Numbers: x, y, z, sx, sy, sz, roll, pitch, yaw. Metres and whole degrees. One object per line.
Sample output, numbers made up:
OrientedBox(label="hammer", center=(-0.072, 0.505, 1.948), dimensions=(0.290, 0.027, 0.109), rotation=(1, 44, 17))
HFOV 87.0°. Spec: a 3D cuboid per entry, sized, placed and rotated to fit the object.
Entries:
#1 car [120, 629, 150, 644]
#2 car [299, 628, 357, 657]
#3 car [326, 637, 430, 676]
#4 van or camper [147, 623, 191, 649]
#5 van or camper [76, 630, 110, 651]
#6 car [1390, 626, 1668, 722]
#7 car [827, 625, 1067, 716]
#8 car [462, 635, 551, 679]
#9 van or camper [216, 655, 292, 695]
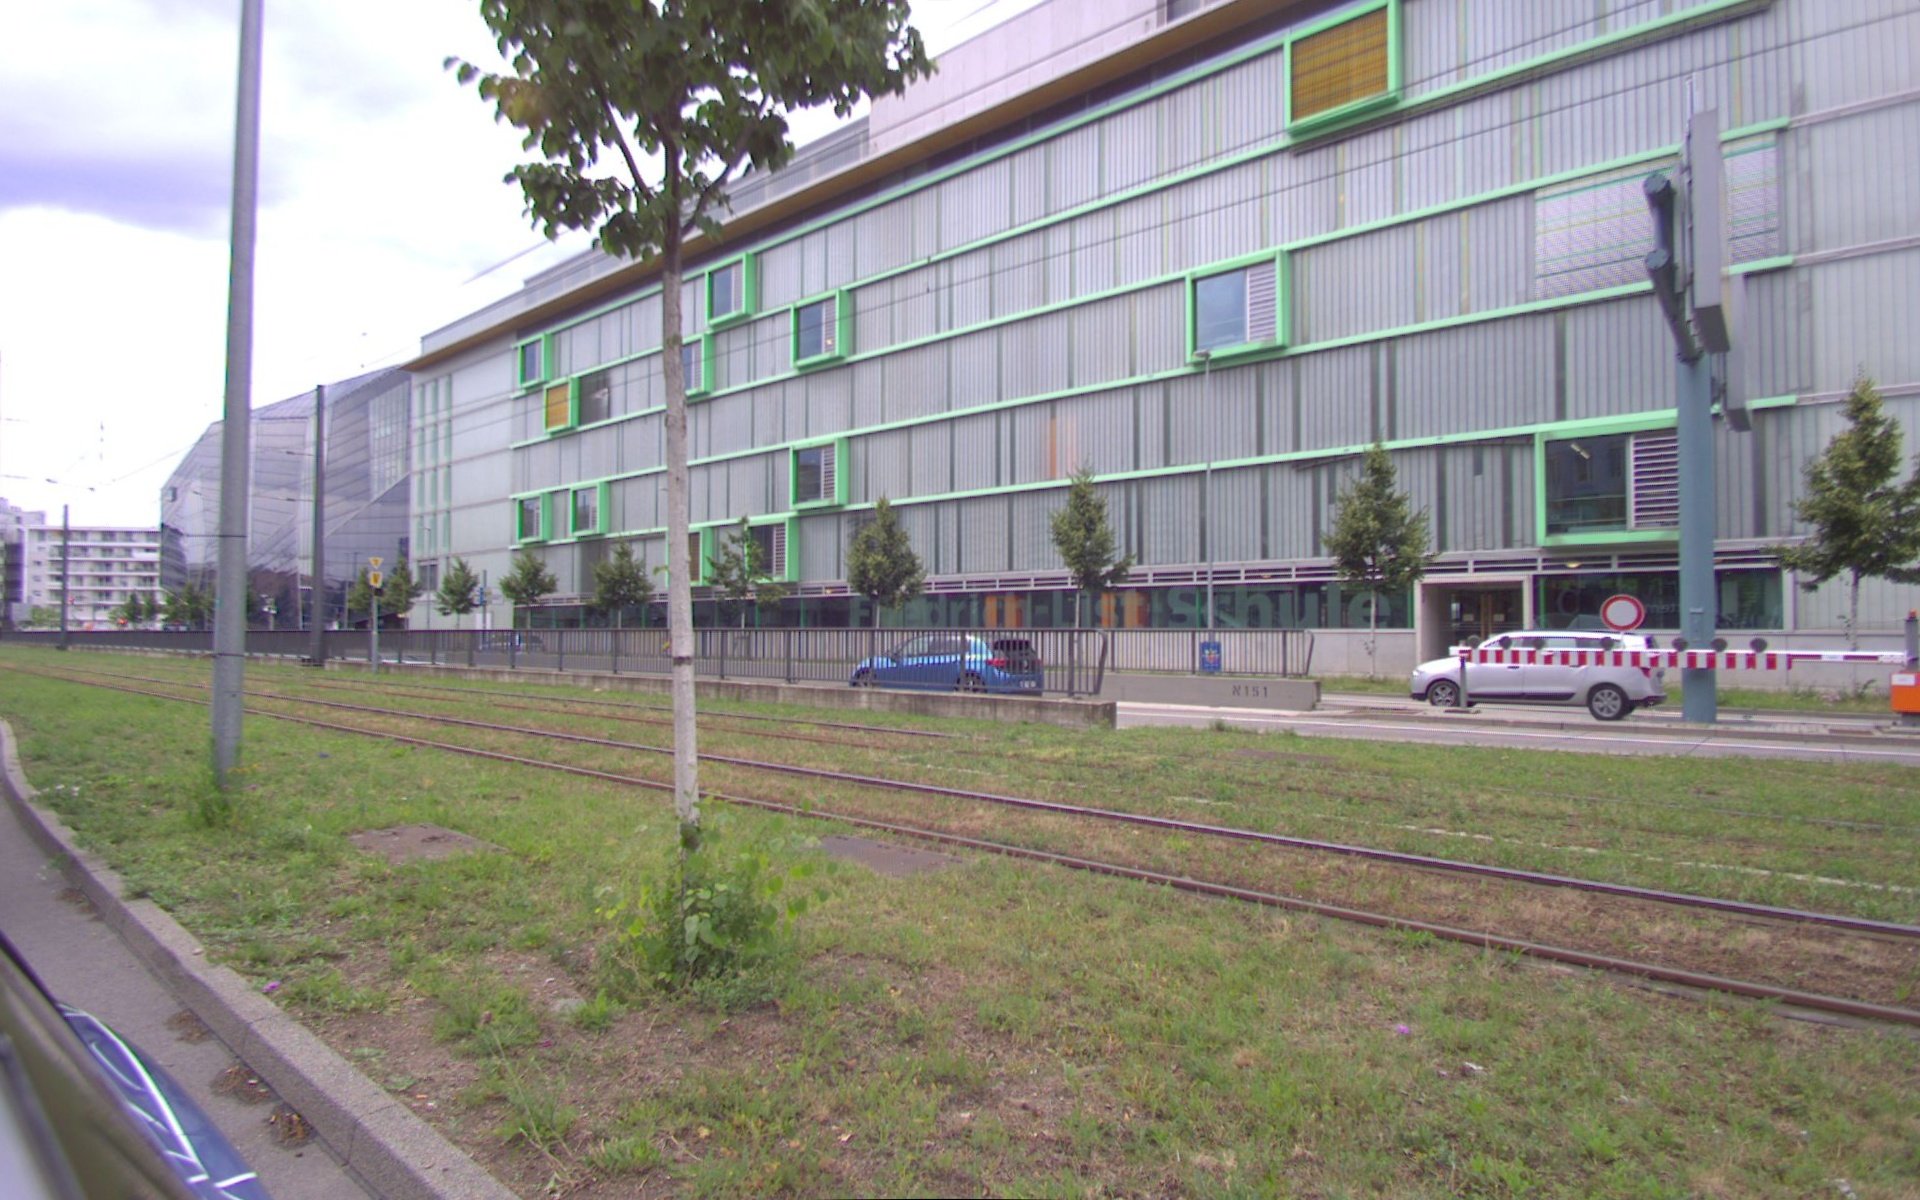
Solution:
OrientedBox(label="car", center=(-92.818, 4.114, 113.865), dimensions=(4.766, 1.605, 1.972), rotation=(-4, -4, 43))
OrientedBox(label="car", center=(-42.449, 2.820, 67.961), dimensions=(4.965, 1.837, 1.972), rotation=(-2, -2, 42))
OrientedBox(label="car", center=(-23.101, 2.239, 40.106), dimensions=(4.913, 1.456, 1.712), rotation=(-2, -4, 37))
OrientedBox(label="van or camper", center=(-73.045, 3.315, 93.425), dimensions=(5.356, 2.304, 2.150), rotation=(-2, -2, 41))
OrientedBox(label="van or camper", center=(-98.914, 4.633, 115.441), dimensions=(6.503, 2.304, 2.150), rotation=(-2, -2, 42))
OrientedBox(label="car", center=(11.238, 1.375, 20.191), dimensions=(4.576, 1.582, 1.778), rotation=(0, 1, 41))
OrientedBox(label="car", center=(-0.355, 1.341, 20.405), dimensions=(4.683, 1.600, 1.945), rotation=(-2, -2, 39))
OrientedBox(label="car", center=(-22.214, 2.733, 49.459), dimensions=(5.292, 2.029, 1.972), rotation=(-2, -2, 42))
OrientedBox(label="van or camper", center=(-36.681, 3.861, 52.545), dimensions=(5.120, 1.915, 1.870), rotation=(-1, -3, 40))
